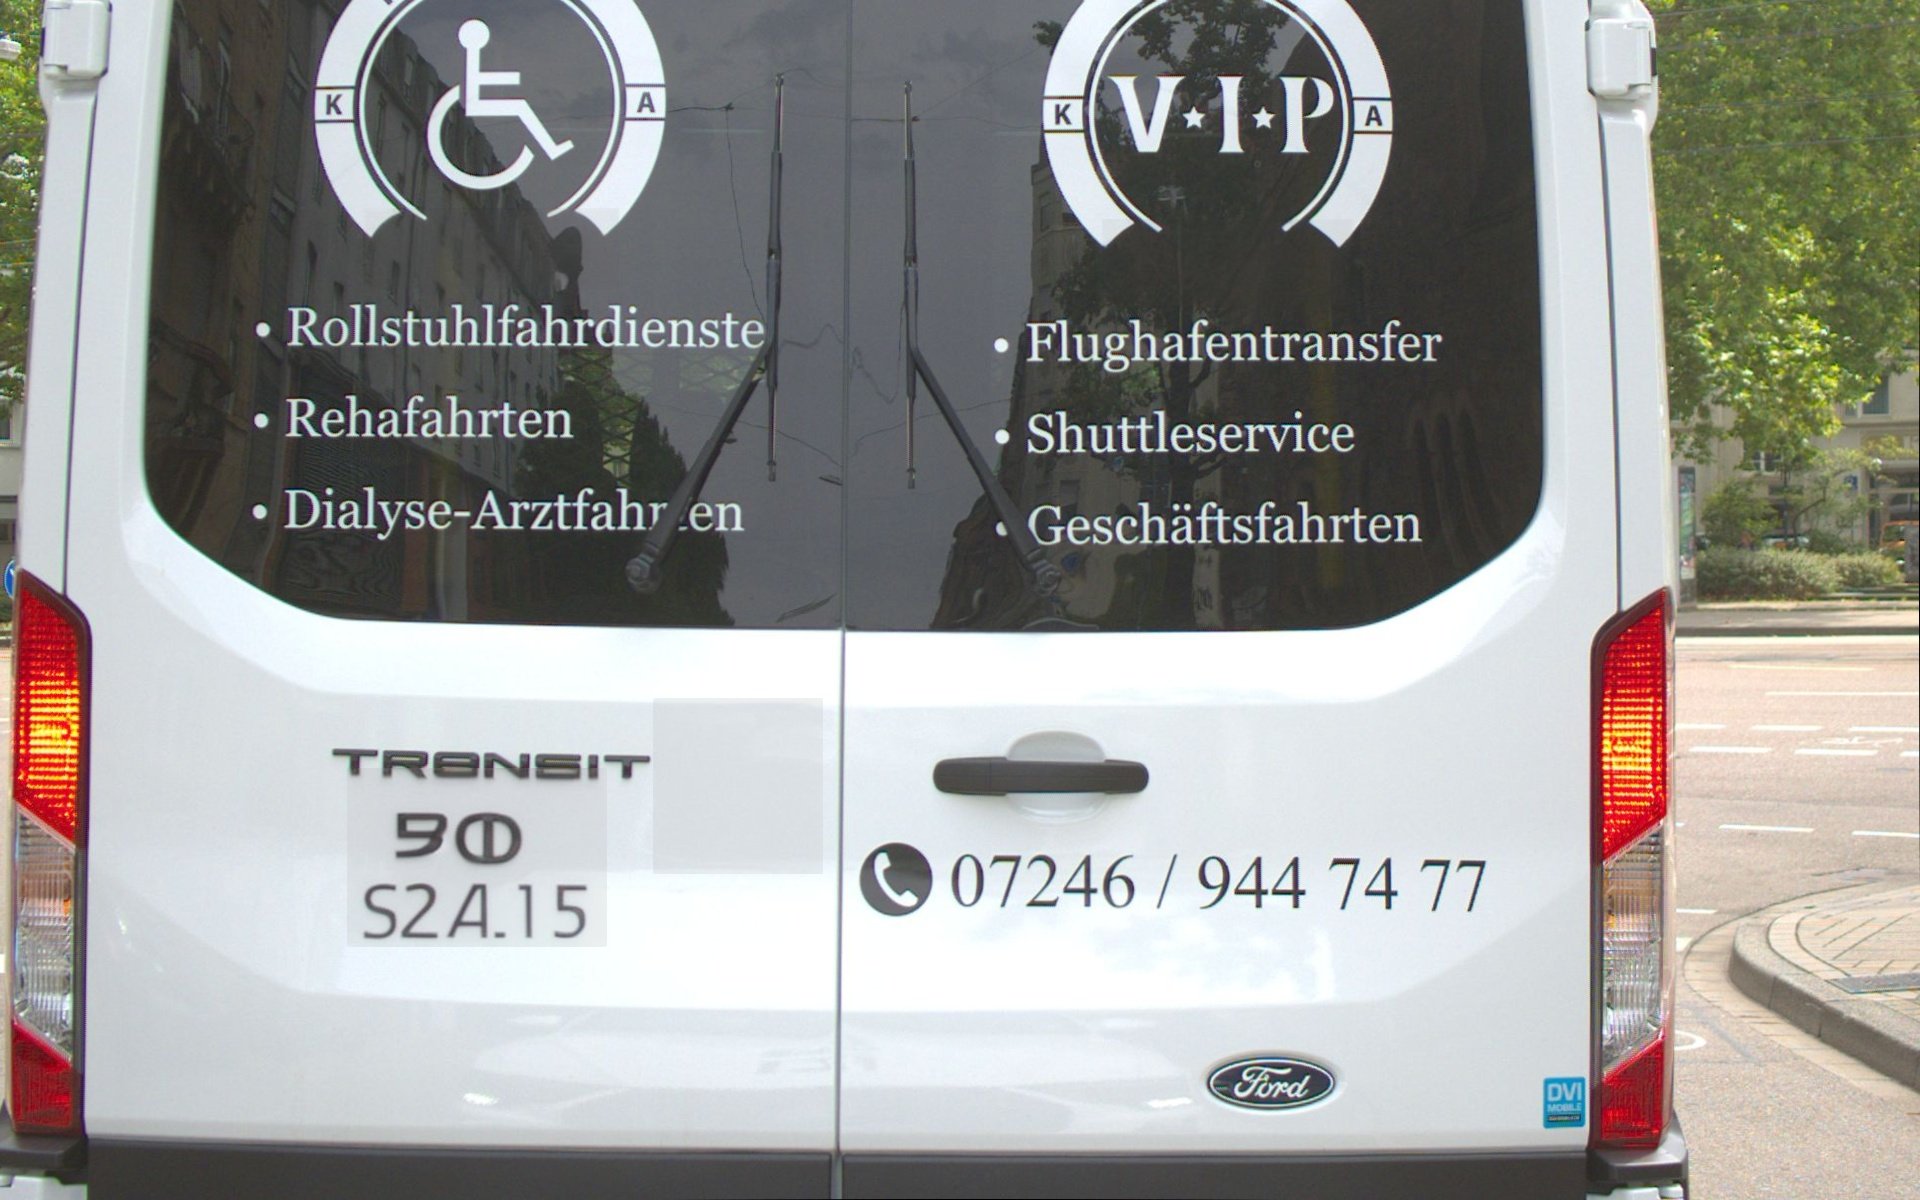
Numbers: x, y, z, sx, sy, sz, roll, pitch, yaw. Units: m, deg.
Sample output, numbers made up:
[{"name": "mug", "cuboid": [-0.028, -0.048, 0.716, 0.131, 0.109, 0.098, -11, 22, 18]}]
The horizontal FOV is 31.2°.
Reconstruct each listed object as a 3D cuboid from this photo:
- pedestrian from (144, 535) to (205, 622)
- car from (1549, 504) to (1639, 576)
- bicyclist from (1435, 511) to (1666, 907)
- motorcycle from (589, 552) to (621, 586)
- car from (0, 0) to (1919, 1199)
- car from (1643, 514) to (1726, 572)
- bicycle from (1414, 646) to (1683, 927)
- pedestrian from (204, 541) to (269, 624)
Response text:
[{"name": "pedestrian", "cuboid": [-14.325, -0.387, 62.699, 0.807, 1.567, 0.723, 0, 1, 15]}, {"name": "car", "cuboid": [17.419, -1.662, 94.580, 1.994, 1.924, 4.000, -1, 1, 4]}, {"name": "bicyclist", "cuboid": [2.596, 0.456, 15.067, 0.904, 1.677, 0.756, 0, 1, 17]}, {"name": "motorcycle", "cuboid": [-10.534, -0.939, 102.105, 0.683, 0.968, 2.324, -1, 1, 0]}, {"name": "car", "cuboid": [-0.196, 0.057, 5.788, 2.181, 2.638, 4.629, 1, 2, -2]}, {"name": "car", "cuboid": [22.002, -1.742, 104.334, 1.806, 1.678, 3.996, 0, 1, 21]}, {"name": "bicycle", "cuboid": [2.620, 0.777, 15.119, 0.903, 1.071, 1.968, 0, 1, 17]}, {"name": "pedestrian", "cuboid": [-13.246, -0.326, 62.956, 0.930, 1.509, 0.723, 0, 1, 12]}]
